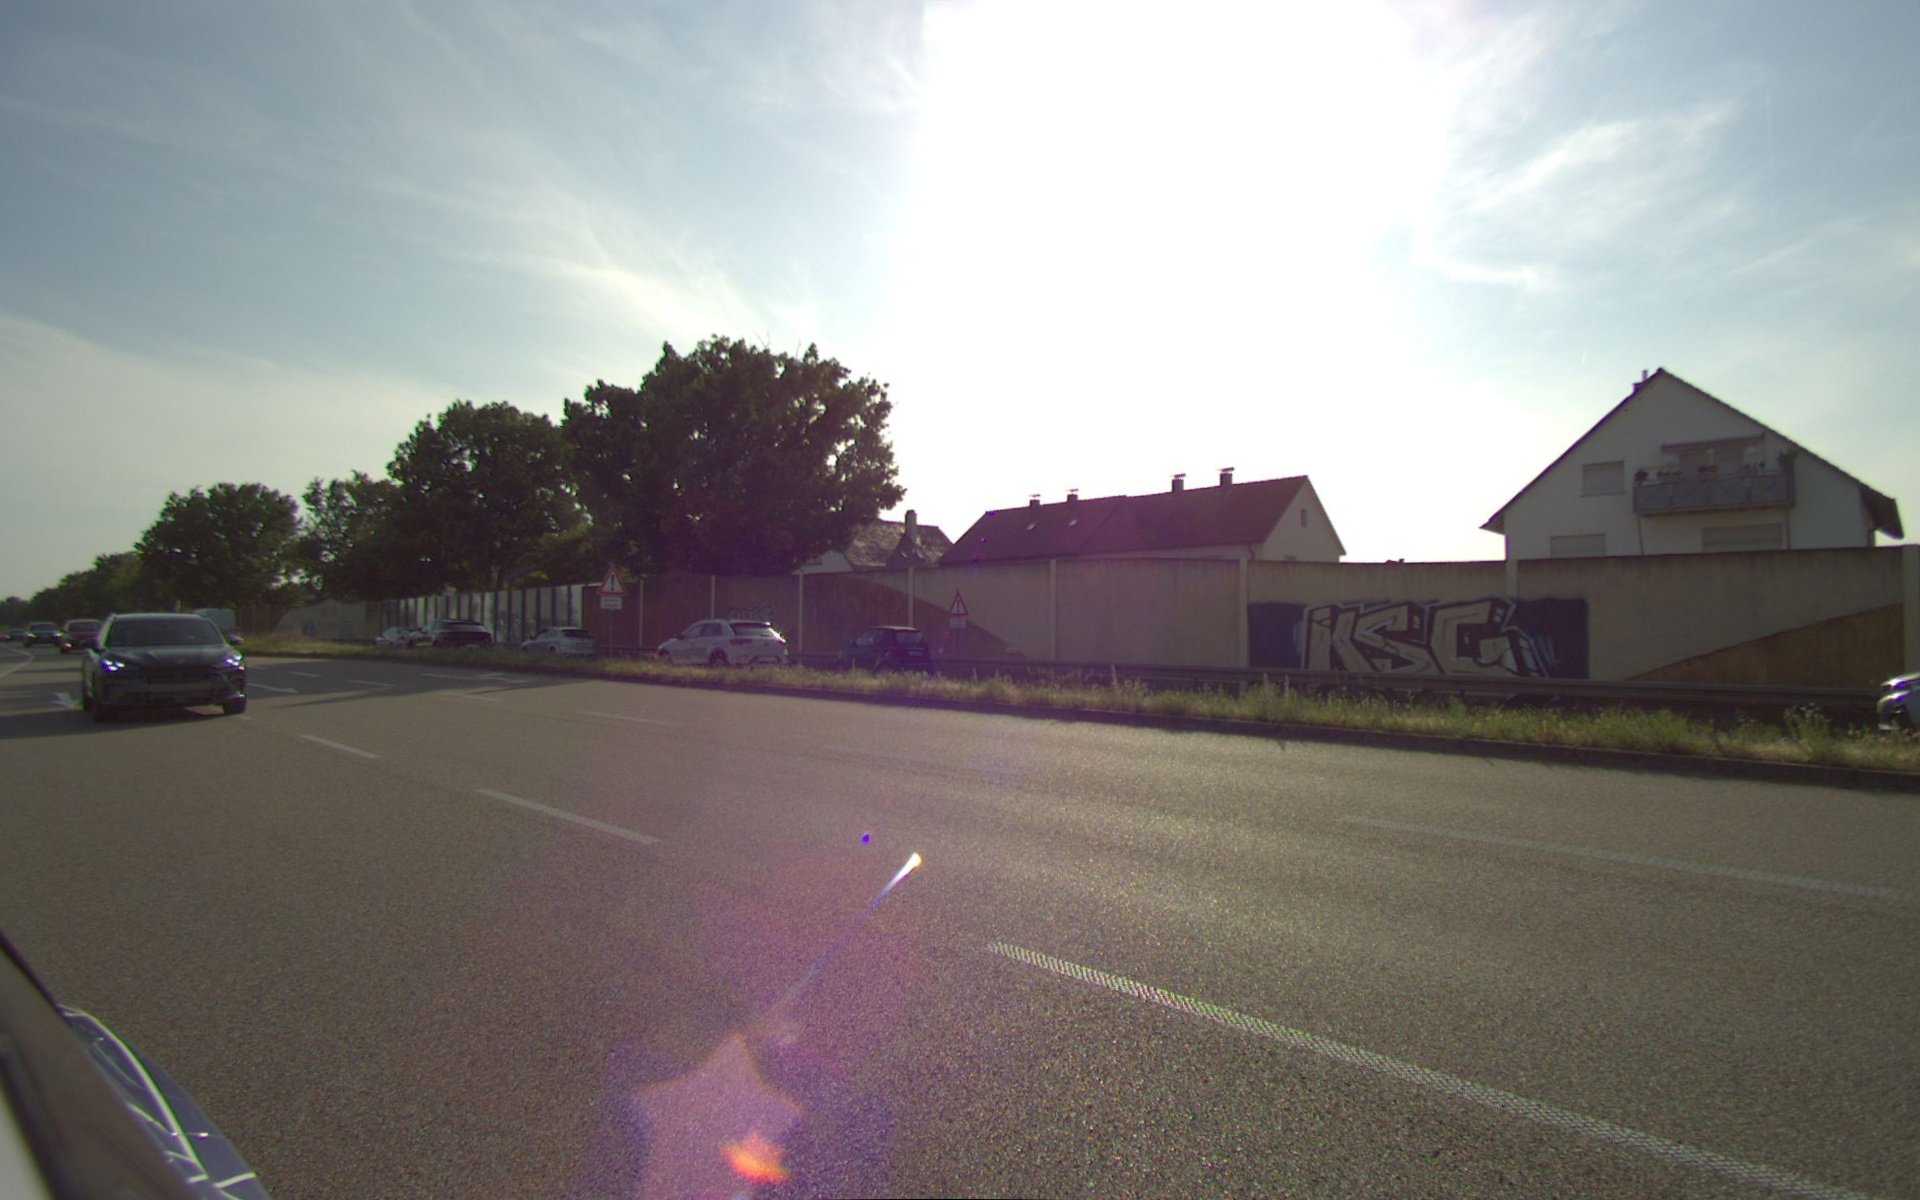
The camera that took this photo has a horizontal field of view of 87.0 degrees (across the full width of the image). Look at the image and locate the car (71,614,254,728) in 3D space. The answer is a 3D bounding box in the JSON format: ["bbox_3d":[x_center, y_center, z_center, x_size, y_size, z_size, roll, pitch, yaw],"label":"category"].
[{"bbox_3d":[-12.804,1.043,16.149,1.796,1.537,4.248,0,-1,-45],"label":"car"}]

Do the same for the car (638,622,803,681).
[{"bbox_3d":[-6.197,1.279,25.882,4.715,1.331,1.852,-2,-1,44],"label":"car"}]

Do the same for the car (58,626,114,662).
[{"bbox_3d":[-42.985,2.147,49.758,4.002,1.683,1.797,-2,-1,45],"label":"car"}]

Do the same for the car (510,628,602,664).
[{"bbox_3d":[-16.307,1.835,40.747,1.760,1.333,4.607,0,-1,-45],"label":"car"}]

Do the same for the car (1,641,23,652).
[{"bbox_3d":[-101.046,4.934,107.859,3.650,1.165,1.476,-2,-1,43],"label":"car"}]

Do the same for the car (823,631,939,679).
[{"bbox_3d":[-2.164,1.433,27.213,1.457,1.172,3.063,0,-1,-45],"label":"car"}]

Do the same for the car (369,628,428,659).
[{"bbox_3d":[-30.902,2.389,55.630,1.632,1.579,4.714,0,-1,-45],"label":"car"}]

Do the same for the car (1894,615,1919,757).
[{"bbox_3d":[13.803,1.000,11.533,4.590,1.678,1.955,-2,-1,44],"label":"car"}]

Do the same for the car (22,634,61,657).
[{"bbox_3d":[-64.406,3.179,70.964,4.001,1.519,1.785,-2,-1,44],"label":"car"}]

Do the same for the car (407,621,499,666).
[{"bbox_3d":[-20.184,1.686,40.182,4.924,1.637,1.712,-2,-1,44],"label":"car"}]

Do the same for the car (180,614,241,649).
[{"bbox_3d":[-53.425,2.233,72.046,7.192,2.321,2.322,-2,-1,44],"label":"car"}]

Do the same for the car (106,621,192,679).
[{"bbox_3d":[-26.788,1.616,33.382,1.797,1.747,4.002,0,-1,-45],"label":"car"}]
